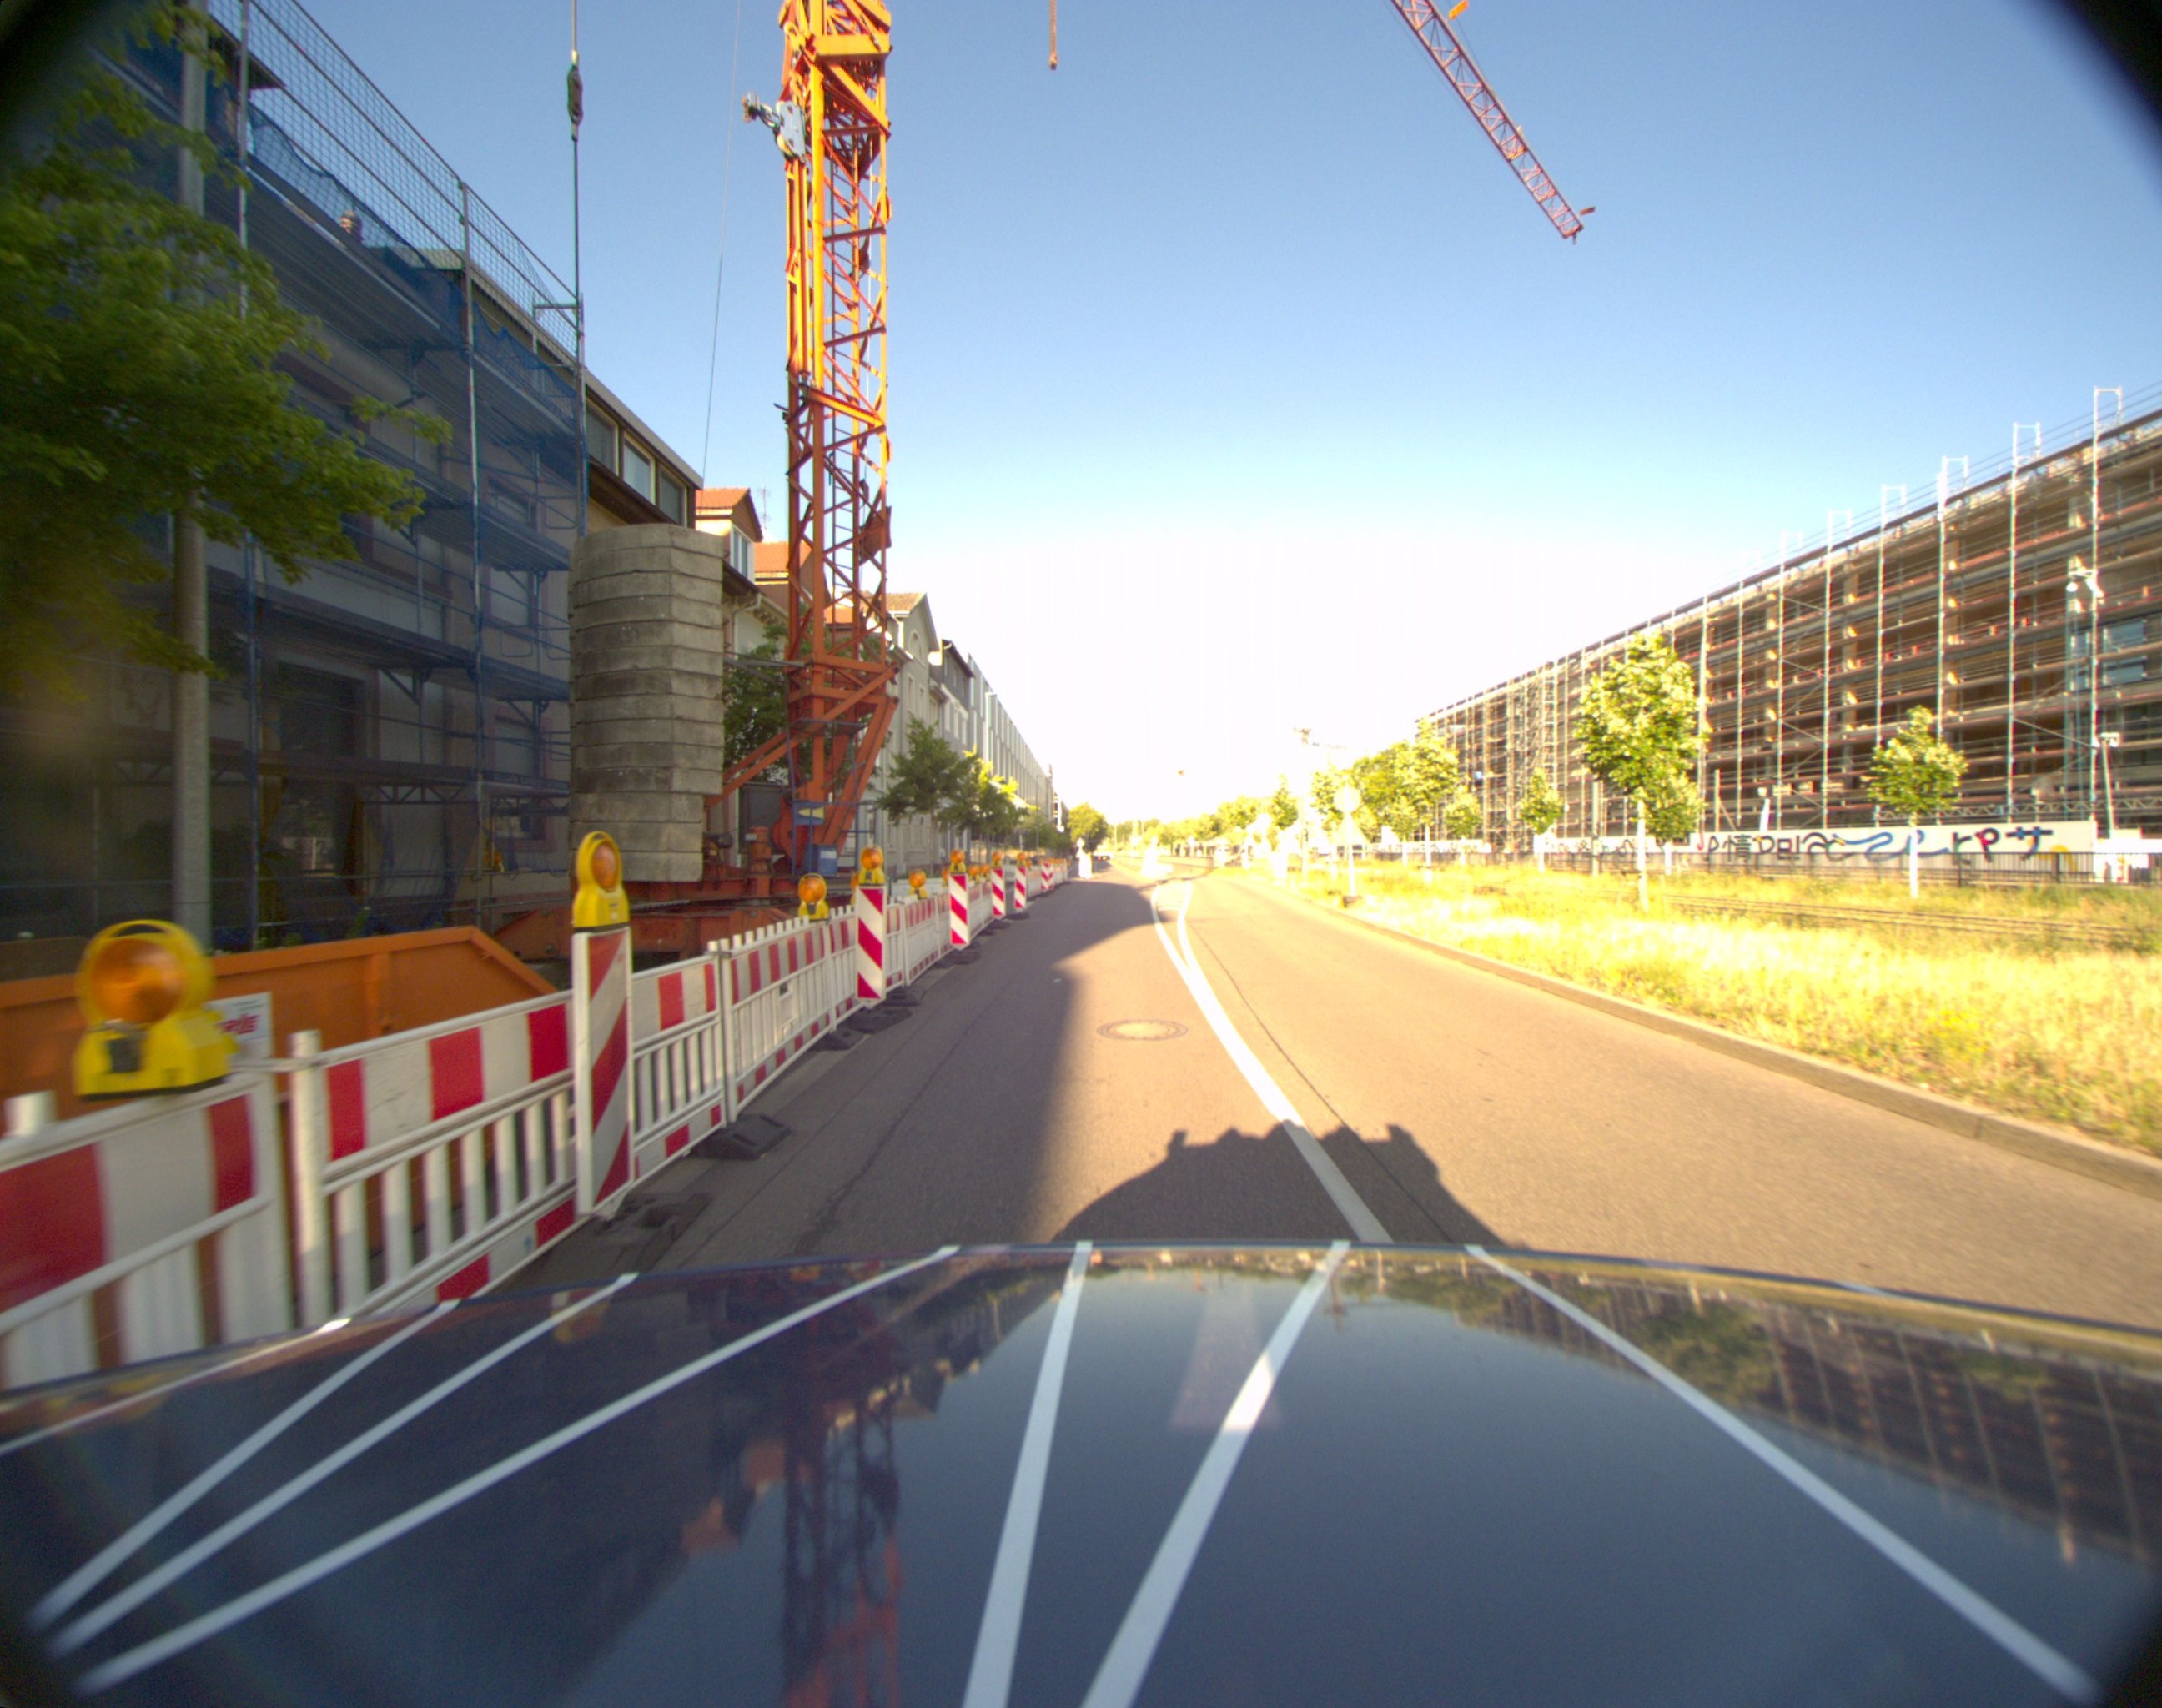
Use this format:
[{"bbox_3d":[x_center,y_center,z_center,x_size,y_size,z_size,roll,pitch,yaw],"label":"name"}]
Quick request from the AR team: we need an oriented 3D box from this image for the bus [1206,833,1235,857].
[{"bbox_3d":[19.122,-1.215,104.614,2.723,3.204,8.656,0,0,2],"label":"bus"}]

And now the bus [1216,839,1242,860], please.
[{"bbox_3d":[23.362,-0.692,120.311,2.723,3.204,8.656,0,0,3],"label":"bus"}]

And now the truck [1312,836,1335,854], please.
[{"bbox_3d":[35.606,-1.271,111.663,2.143,2.559,4.740,0,0,3],"label":"truck"}]
